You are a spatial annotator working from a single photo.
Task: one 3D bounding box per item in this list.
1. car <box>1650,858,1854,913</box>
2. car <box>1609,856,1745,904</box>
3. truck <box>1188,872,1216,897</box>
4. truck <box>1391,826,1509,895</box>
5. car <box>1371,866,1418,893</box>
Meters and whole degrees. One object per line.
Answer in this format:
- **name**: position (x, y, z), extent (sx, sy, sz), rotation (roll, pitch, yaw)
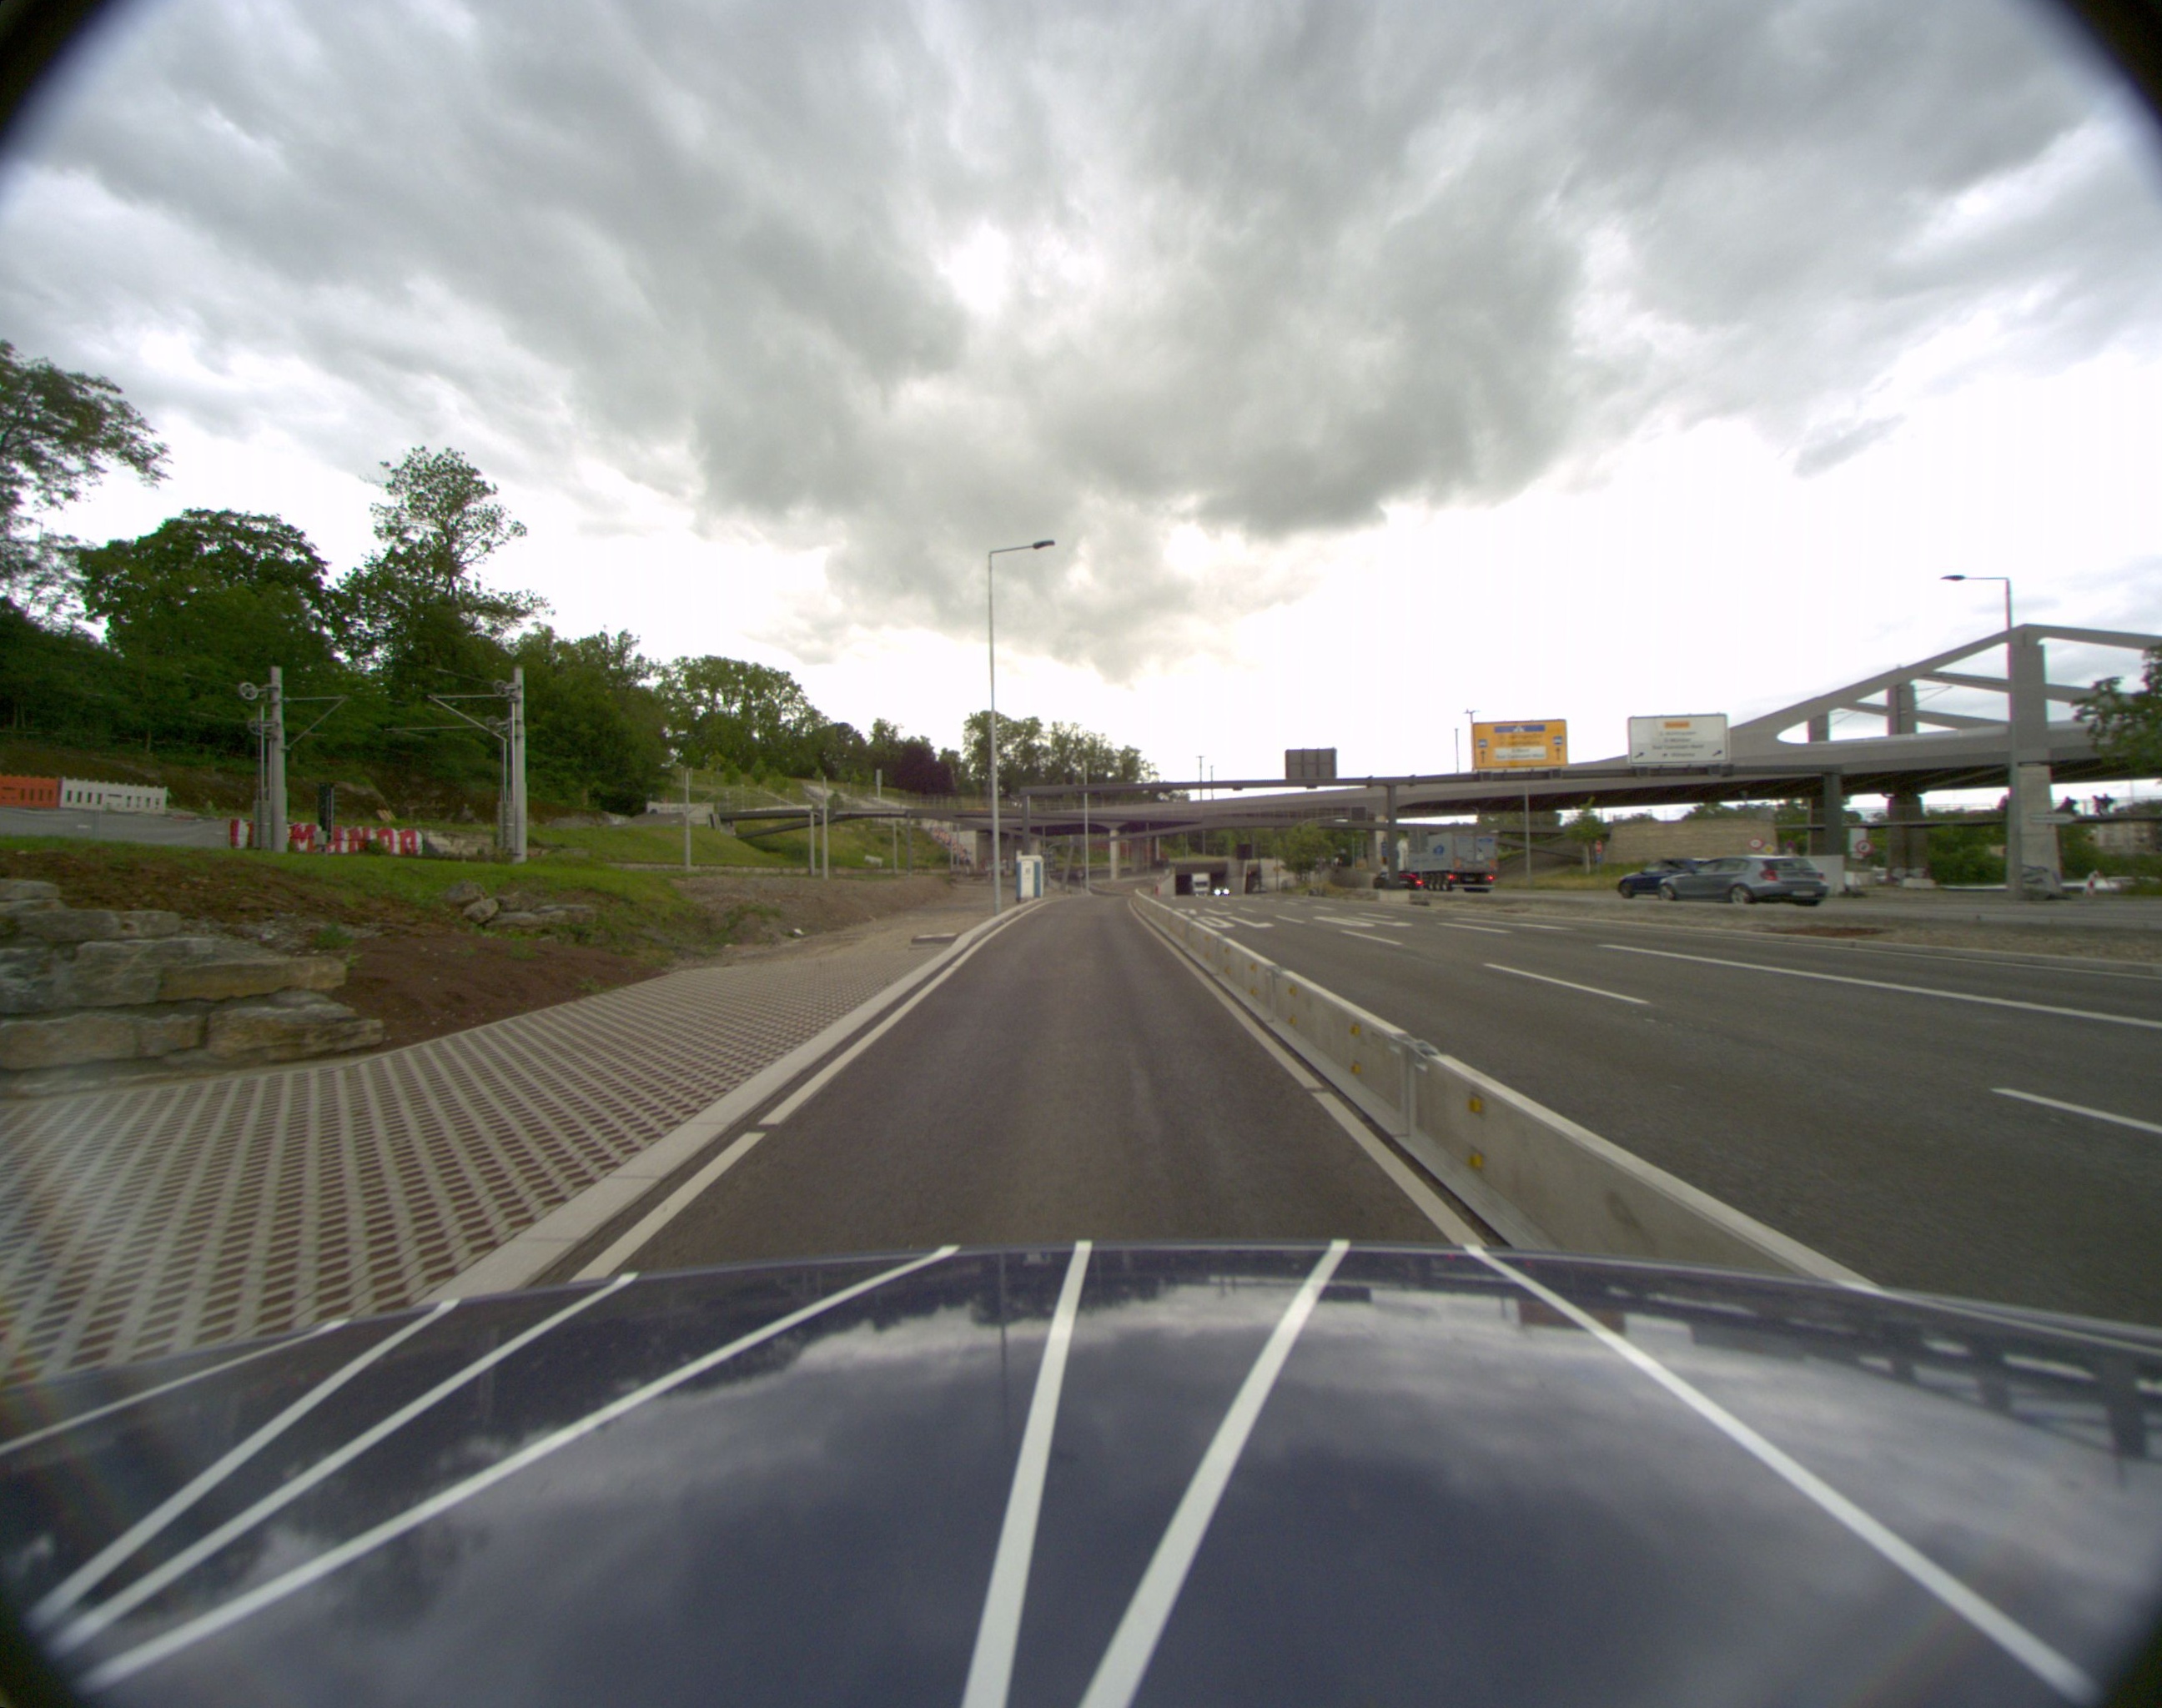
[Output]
- **car**: position (17.817, 0.833, 20.495), extent (1.890, 1.323, 4.259), rotation (0, -2, 3)
- **car**: position (23.761, 1.036, 30.548), extent (1.890, 1.673, 4.490), rotation (-3, -2, 1)
- **truck**: position (15.940, 3.964, 100.739), extent (2.747, 3.107, 8.124), rotation (-3, -1, 3)
- **truck**: position (24.686, 0.623, 52.003), extent (2.904, 4.036, 14.002), rotation (-1, -2, 7)
- **car**: position (20.408, 1.640, 49.631), extent (1.709, 1.610, 4.456), rotation (2, -1, 8)
